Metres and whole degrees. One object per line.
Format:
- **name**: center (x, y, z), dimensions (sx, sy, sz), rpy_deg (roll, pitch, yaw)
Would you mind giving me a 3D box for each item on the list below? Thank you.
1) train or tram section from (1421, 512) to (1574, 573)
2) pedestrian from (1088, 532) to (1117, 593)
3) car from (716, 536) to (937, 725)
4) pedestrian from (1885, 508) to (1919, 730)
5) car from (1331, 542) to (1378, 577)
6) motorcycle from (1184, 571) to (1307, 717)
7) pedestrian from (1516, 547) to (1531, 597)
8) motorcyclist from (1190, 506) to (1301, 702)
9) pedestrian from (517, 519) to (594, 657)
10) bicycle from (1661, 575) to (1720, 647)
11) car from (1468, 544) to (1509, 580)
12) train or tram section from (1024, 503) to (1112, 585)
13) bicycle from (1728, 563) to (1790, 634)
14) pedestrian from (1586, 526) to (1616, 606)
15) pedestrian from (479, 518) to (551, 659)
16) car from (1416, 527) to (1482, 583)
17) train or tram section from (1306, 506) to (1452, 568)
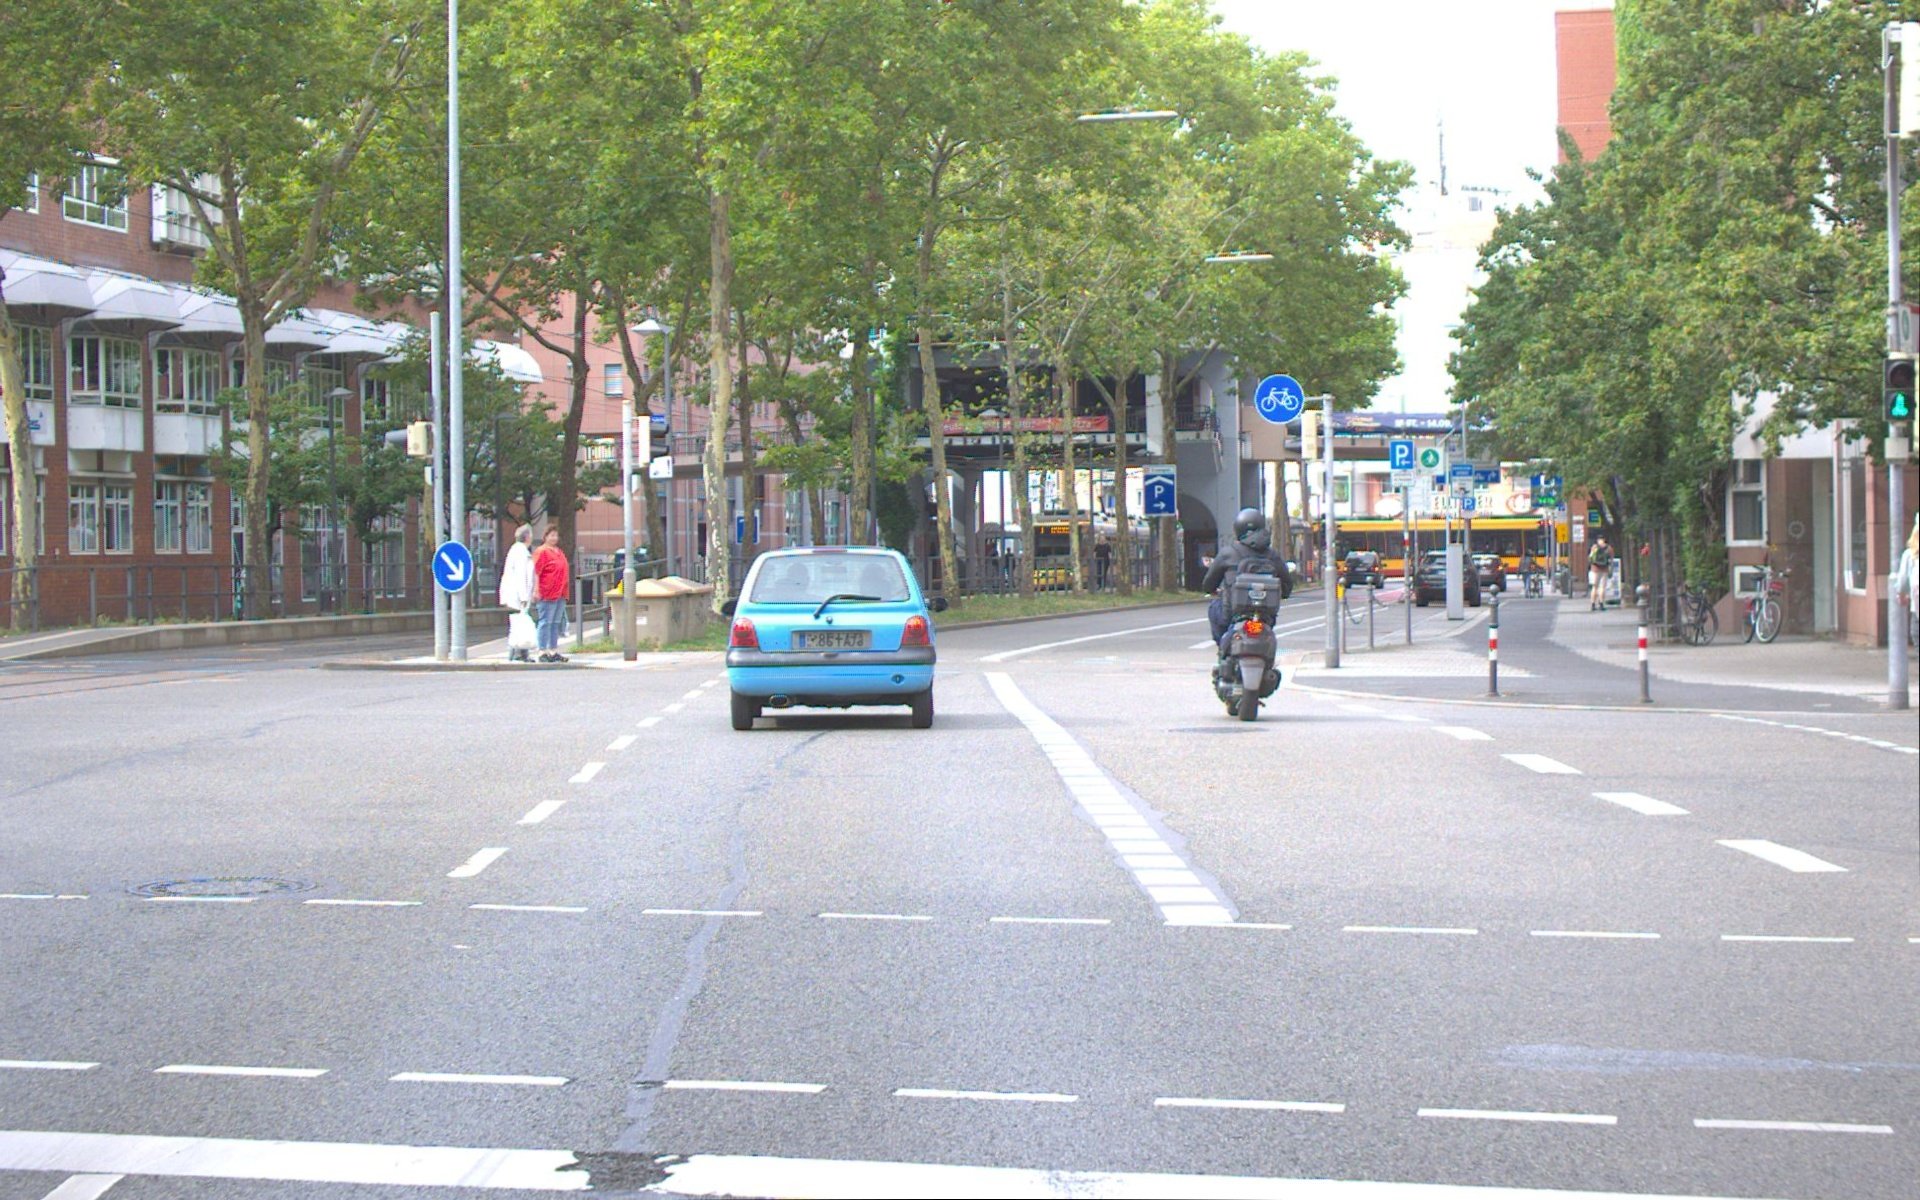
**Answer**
- **train or tram section**: center (29.797, -3.192, 190.494), dimensions (8.330, 3.242, 2.397), rpy_deg (-1, 1, -23)
- **pedestrian**: center (4.370, -1.150, 105.296), dimensions (0.728, 1.852, 0.870), rpy_deg (0, 1, 11)
- **car**: center (-1.011, 0.192, 27.517), dimensions (1.640, 1.381, 3.843), rpy_deg (0, 1, -1)
- **pedestrian**: center (7.173, 0.125, 25.349), dimensions (0.517, 1.610, 0.851), rpy_deg (-1, 1, 4)
- **car**: center (18.638, -1.917, 162.450), dimensions (1.887, 1.618, 3.998), rpy_deg (0, 1, 11)
- **motorcycle**: center (2.270, 0.332, 27.578), dimensions (0.767, 1.103, 2.208), rpy_deg (-1, 1, 0)
- **pedestrian**: center (19.846, -0.993, 121.119), dimensions (0.510, 1.753, 0.539), rpy_deg (-1, 0, 10)
- **motorcyclist**: center (2.264, 0.027, 27.399), dimensions (0.759, 1.514, 1.018), rpy_deg (-1, 1, -1)
- **pedestrian**: center (-5.076, -0.153, 43.162), dimensions (0.553, 1.712, 0.889), rpy_deg (0, 1, 26)
- **bicycle**: center (10.595, 0.149, 49.922), dimensions (0.617, 1.005, 1.735), rpy_deg (0, 1, 5)
- **car**: center (24.089, -1.738, 156.669), dimensions (1.699, 1.596, 3.998), rpy_deg (0, 1, 11)
- **train or tram section**: center (4.487, -2.292, 141.725), dimensions (2.390, 3.242, 8.815), rpy_deg (-1, 1, 10)
- **bicycle**: center (11.643, -0.029, 50.141), dimensions (0.617, 1.005, 1.735), rpy_deg (0, 1, 5)
- **pedestrian**: center (14.963, -0.790, 80.251), dimensions (0.647, 1.852, 0.782), rpy_deg (0, 1, 9)
- **pedestrian**: center (-5.465, -0.146, 42.286), dimensions (0.553, 1.712, 0.890), rpy_deg (0, 1, 16)
- **car**: center (14.320, -1.328, 100.557), dimensions (1.699, 1.596, 3.998), rpy_deg (0, 1, 11)
- **train or tram section**: center (22.696, -3.424, 185.901), dimensions (8.792, 3.242, 2.396), rpy_deg (-1, 1, -40)
